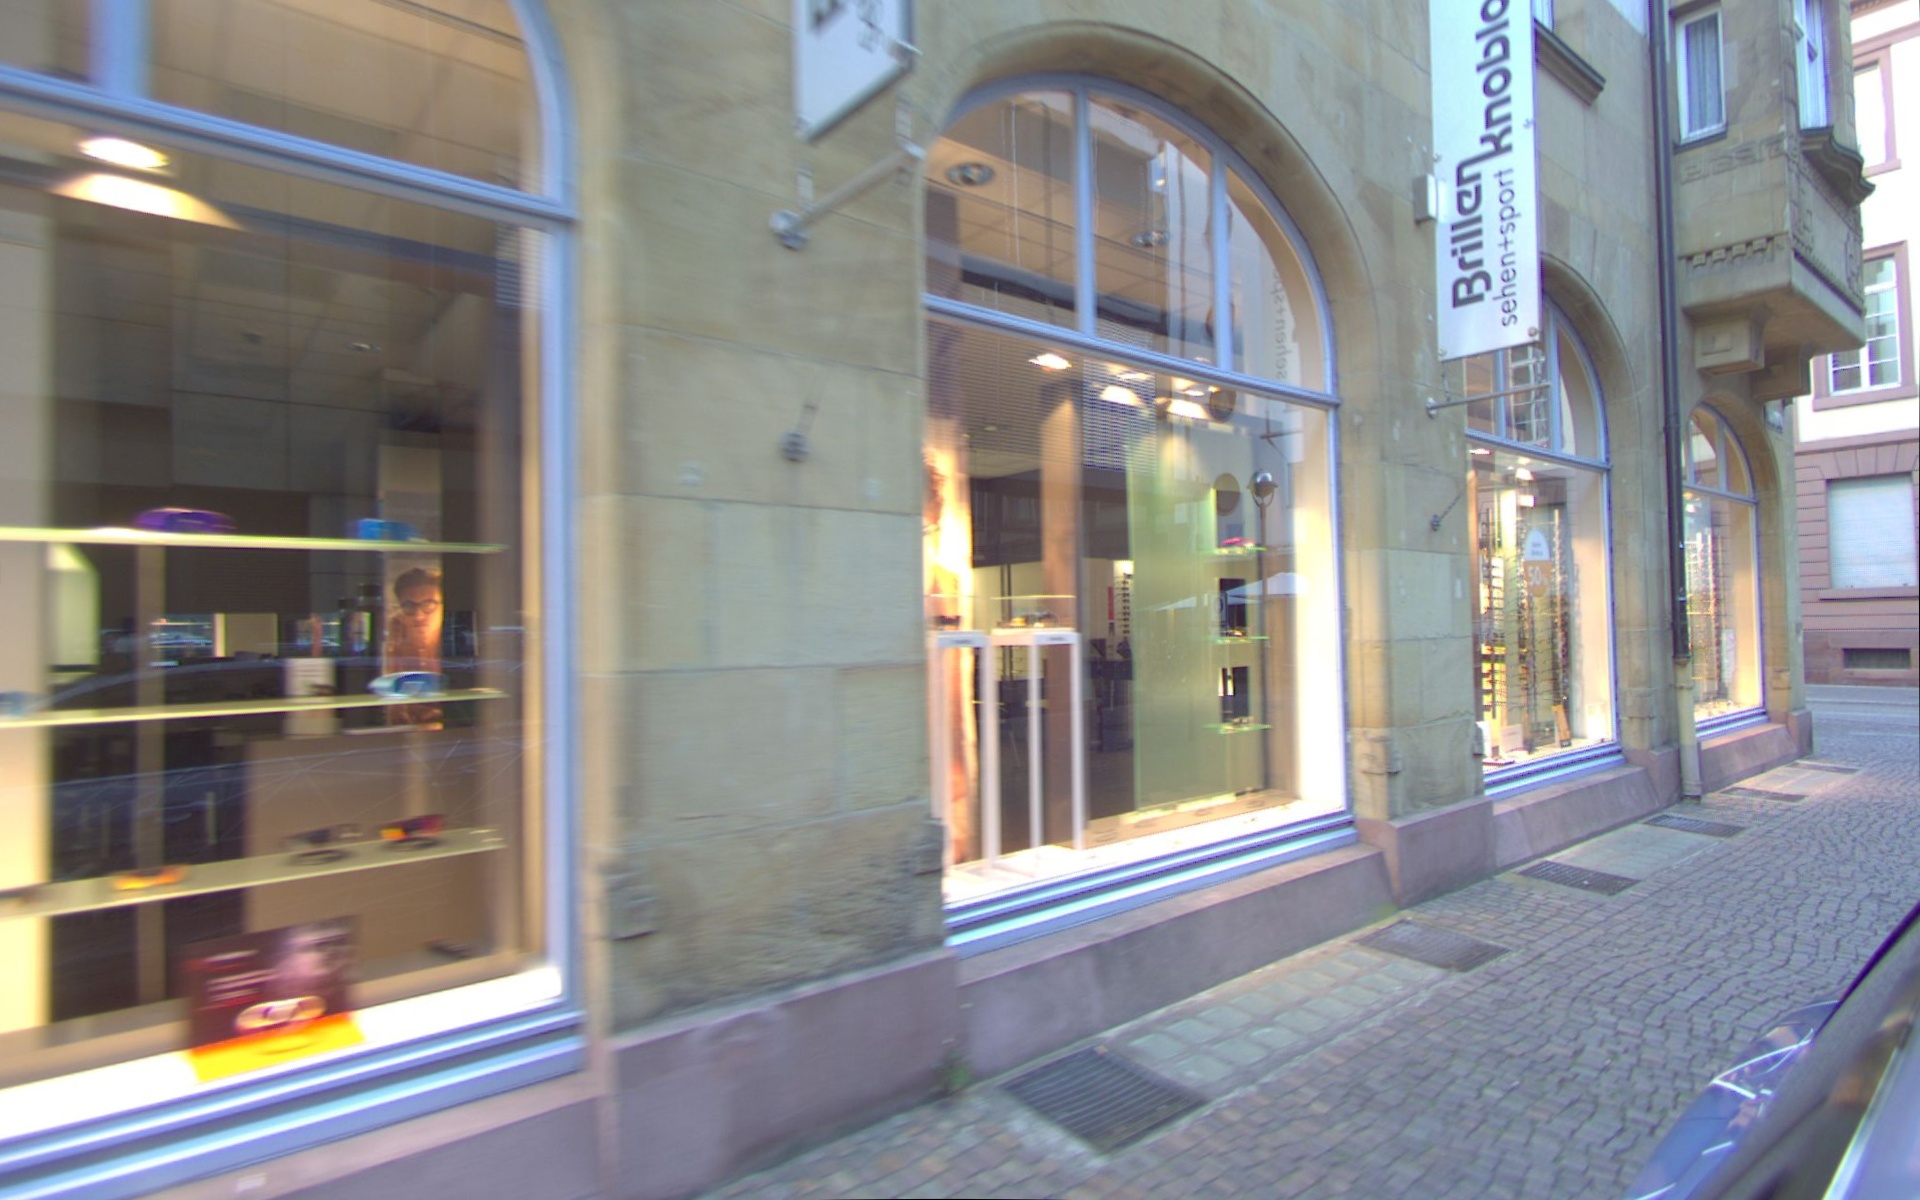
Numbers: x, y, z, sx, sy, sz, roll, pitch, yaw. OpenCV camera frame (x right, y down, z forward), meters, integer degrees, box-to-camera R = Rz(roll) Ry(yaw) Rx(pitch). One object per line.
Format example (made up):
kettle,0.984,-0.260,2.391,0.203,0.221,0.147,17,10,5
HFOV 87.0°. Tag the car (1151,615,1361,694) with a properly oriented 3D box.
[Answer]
car,6.018,1.068,20.968,1.620,1.461,3.997,0,-1,-37

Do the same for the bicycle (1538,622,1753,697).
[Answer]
bicycle,12.629,1.062,18.781,0.907,1.276,3.152,1,-2,-40
